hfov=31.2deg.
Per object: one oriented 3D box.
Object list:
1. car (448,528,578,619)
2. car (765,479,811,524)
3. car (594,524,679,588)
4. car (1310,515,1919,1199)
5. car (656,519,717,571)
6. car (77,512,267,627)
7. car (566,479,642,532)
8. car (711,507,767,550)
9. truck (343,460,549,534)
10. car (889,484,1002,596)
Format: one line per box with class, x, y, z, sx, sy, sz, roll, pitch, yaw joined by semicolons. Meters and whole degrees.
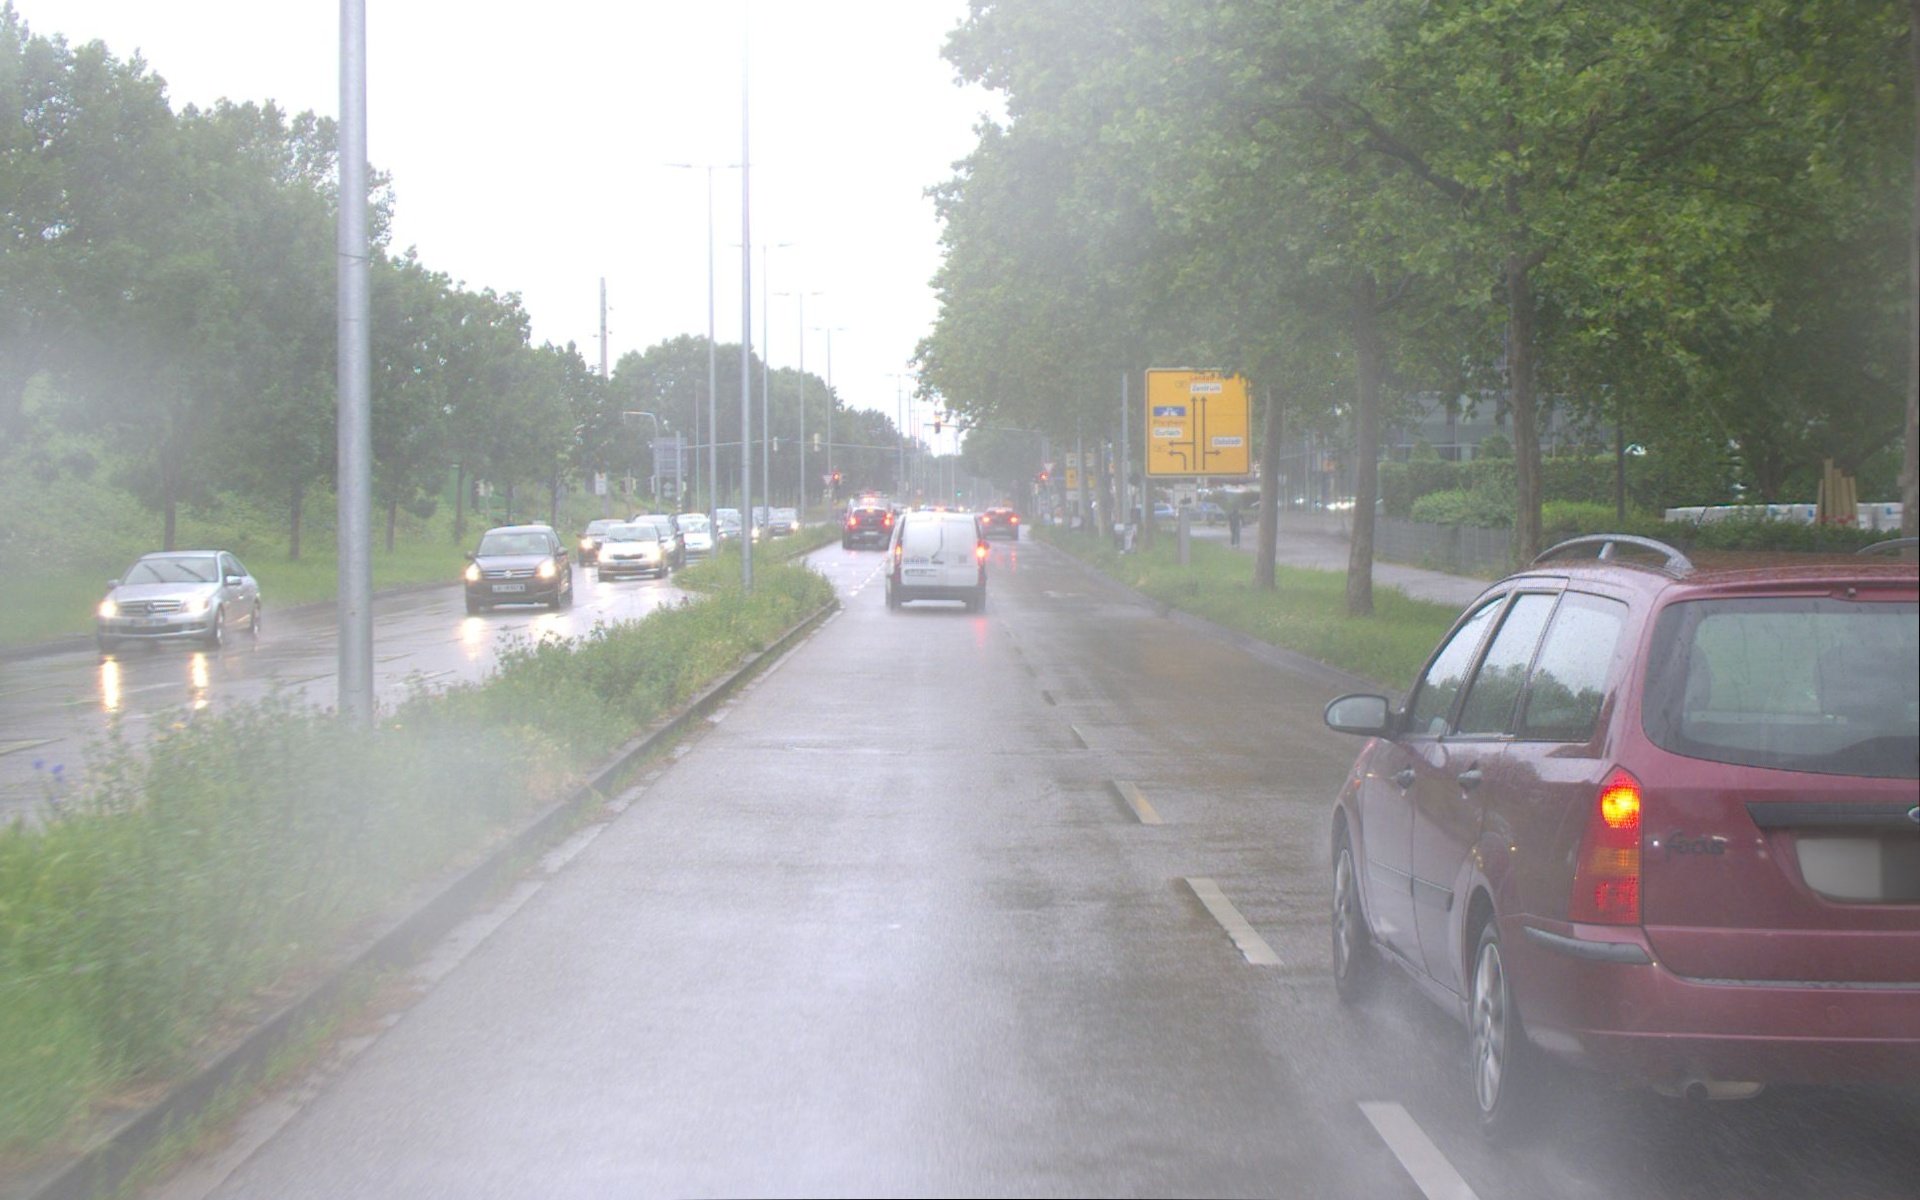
car;-8.701;-0.545;67.207;1.898;1.607;4.112;-2;1;1
car;-8.421;-4.846;168.694;1.824;1.569;4.362;6;7;0
car;-8.510;-1.189;90.777;1.898;1.607;4.112;-1;1;-1
car;2.149;0.547;9.518;1.839;1.531;4.112;1;1;-1
car;-9.026;-1.835;113.169;1.908;1.569;4.710;-2;2;-5
car;-11.722;-0.495;51.417;1.898;1.607;4.478;-1;1;-2
car;-11.805;-3.146;114.170;1.993;1.682;4.709;-2;2;0
car;-8.928;-2.912;139.143;1.908;1.569;4.709;-3;2;0
truck;-25.653;-5.088;171.874;10.110;3.440;2.658;0;0;-37
car;-0.304;-1.093;63.911;1.993;2.007;4.000;1;0;-2
